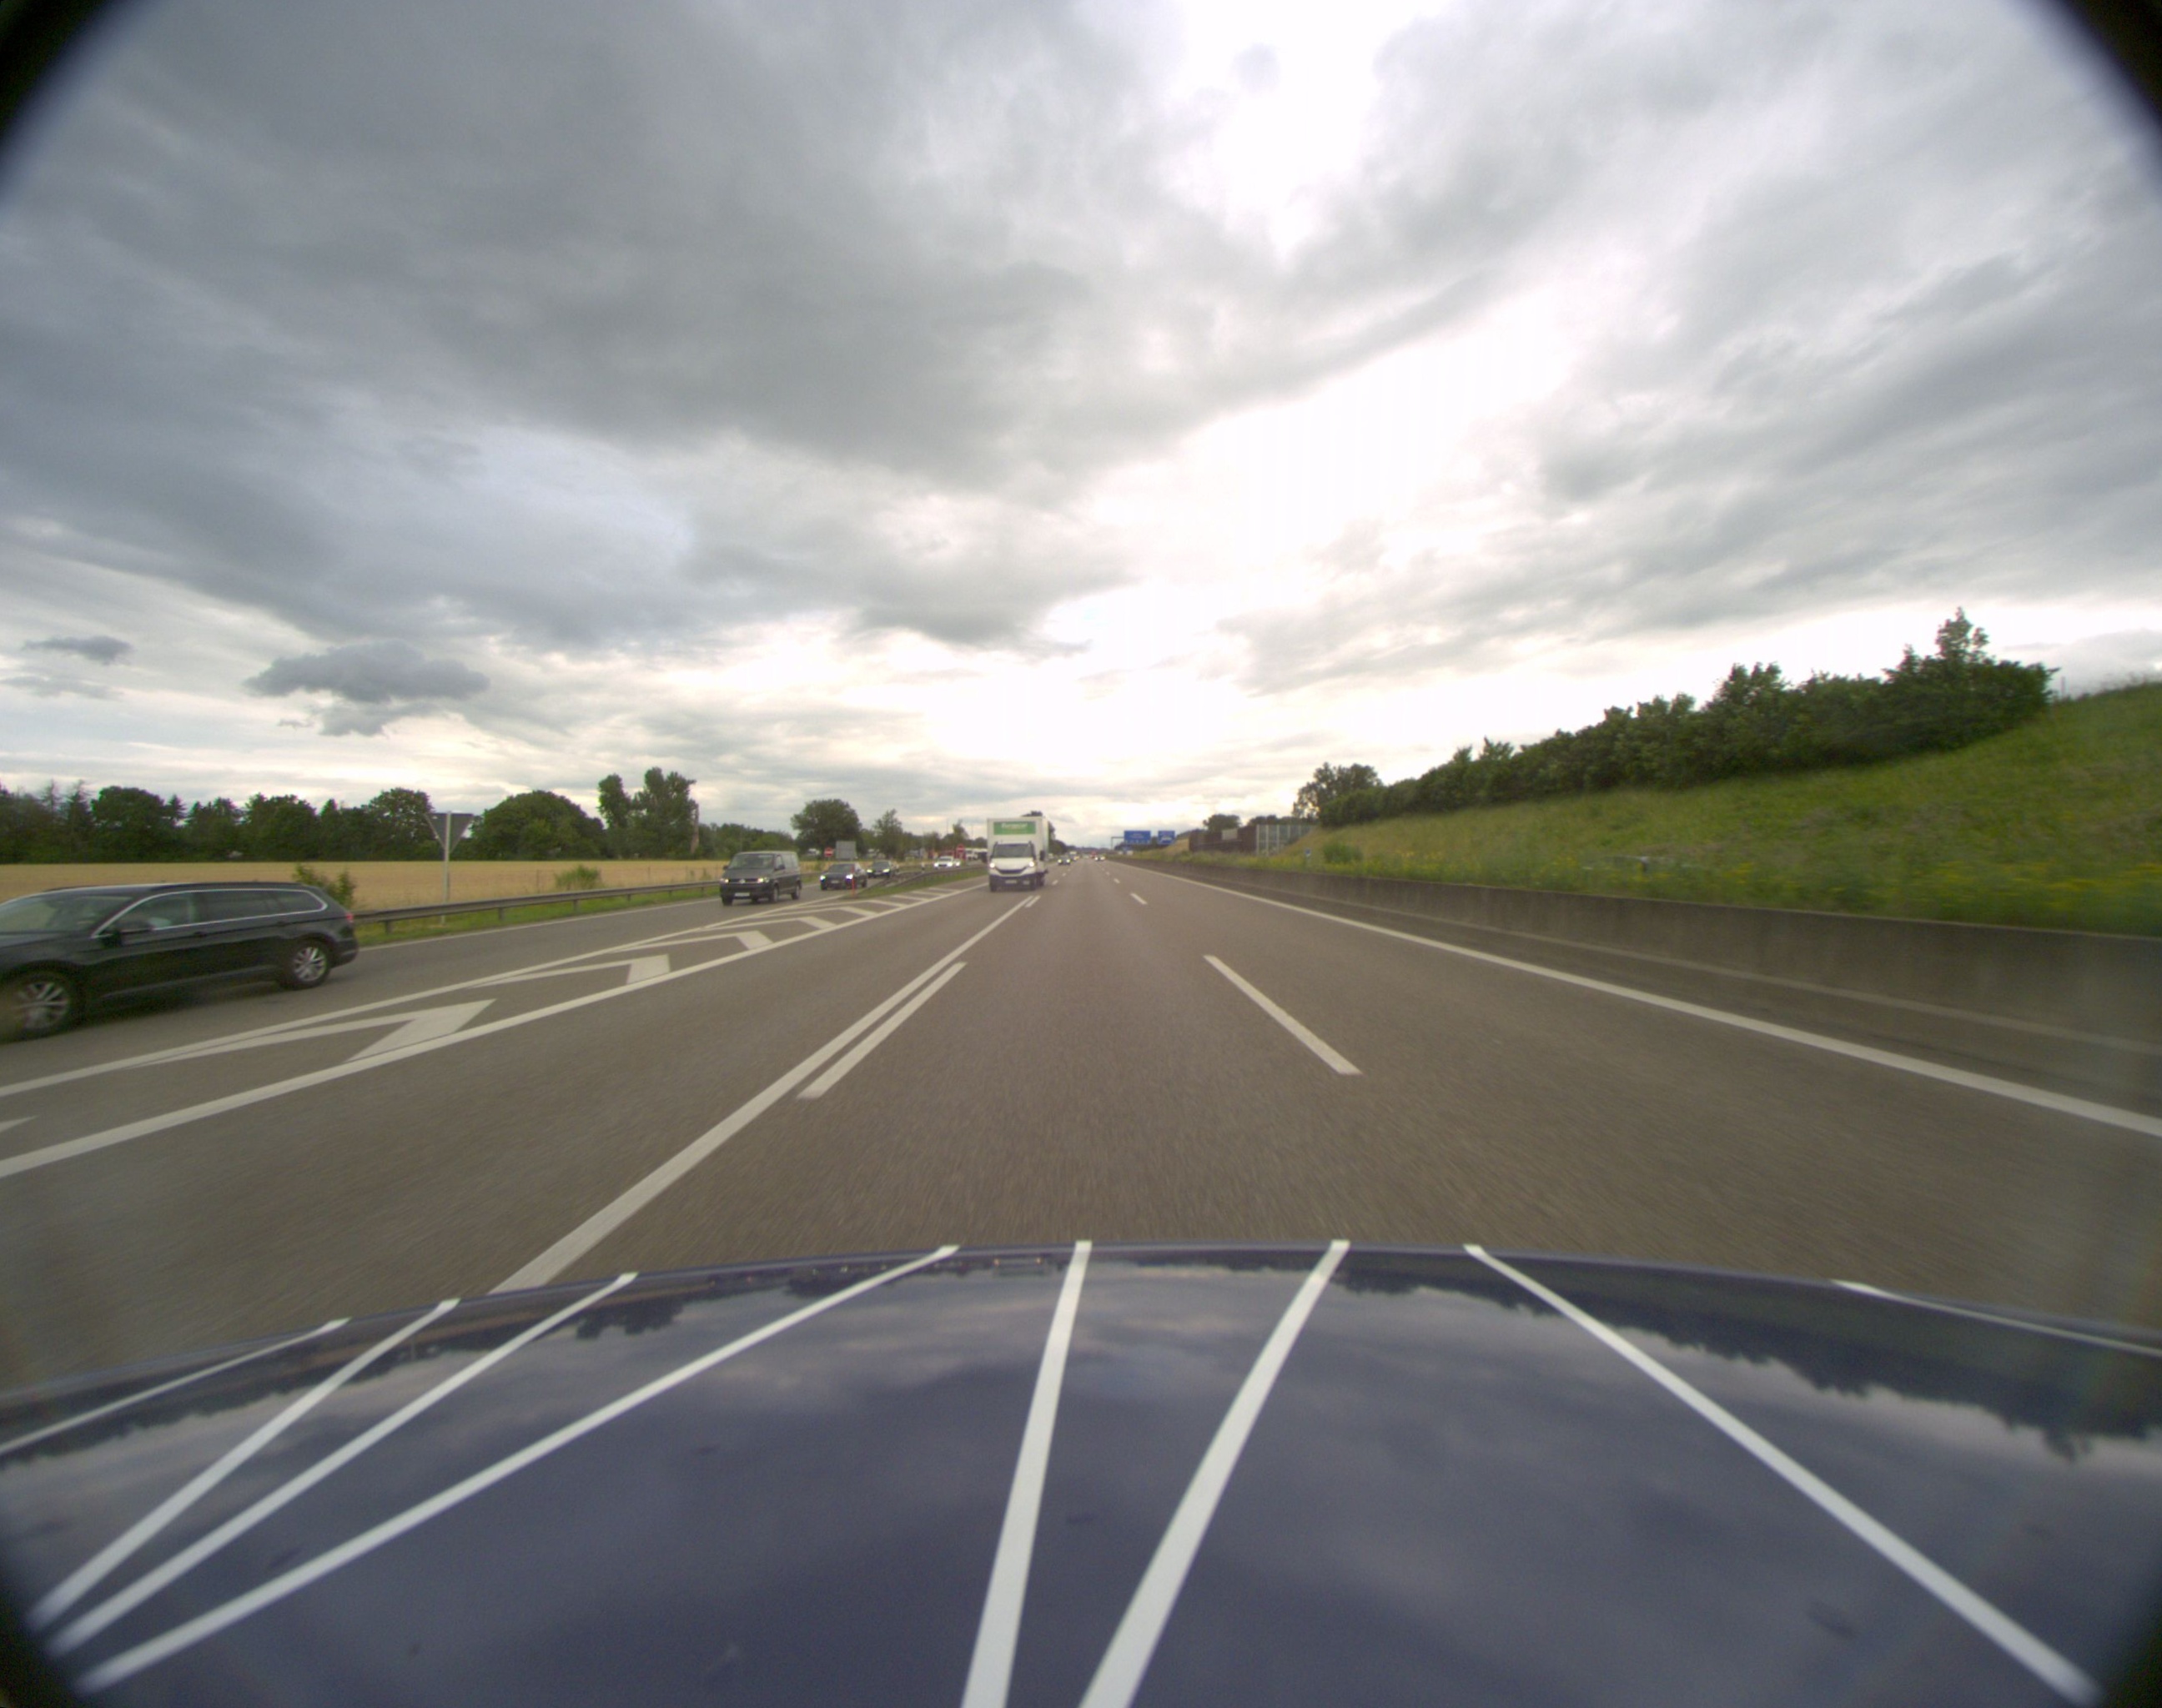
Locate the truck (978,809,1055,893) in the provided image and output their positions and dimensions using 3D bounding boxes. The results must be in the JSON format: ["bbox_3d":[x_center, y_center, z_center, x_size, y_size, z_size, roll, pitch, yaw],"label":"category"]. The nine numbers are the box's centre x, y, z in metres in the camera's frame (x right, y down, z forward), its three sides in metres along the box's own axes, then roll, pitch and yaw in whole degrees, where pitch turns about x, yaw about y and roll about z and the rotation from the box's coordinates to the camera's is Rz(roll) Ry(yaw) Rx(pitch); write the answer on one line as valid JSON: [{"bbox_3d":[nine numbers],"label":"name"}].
[{"bbox_3d":[-2.899,-0.134,36.745,2.777,3.484,9.062,-2,0,1],"label":"truck"}]

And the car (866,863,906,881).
[{"bbox_3d":[-16.648,1.489,65.204,1.832,1.308,5.714,-2,0,1],"label":"car"}]

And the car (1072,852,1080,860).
[{"bbox_3d":[-1.191,0.450,184.293,1.998,2.002,4.000,0,0,1],"label":"car"}]

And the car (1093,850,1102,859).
[{"bbox_3d":[4.041,0.138,187.925,1.998,2.002,4.000,0,0,1],"label":"car"}]

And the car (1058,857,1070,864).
[{"bbox_3d":[-2.729,1.020,120.560,1.781,1.180,4.000,0,0,0],"label":"car"}]

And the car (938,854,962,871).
[{"bbox_3d":[-14.707,0.933,85.454,1.833,1.746,5.065,0,0,-1],"label":"car"}]

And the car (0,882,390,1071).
[{"bbox_3d":[-10.841,1.180,8.553,1.923,1.541,4.921,0,0,-5],"label":"car"}]

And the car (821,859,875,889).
[{"bbox_3d":[-12.758,1.063,41.866,1.755,1.476,4.592,-2,0,-3],"label":"car"}]

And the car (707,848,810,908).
[{"bbox_3d":[-12.266,0.847,29.302,2.150,2.051,4.955,-1,0,-4],"label":"car"}]
